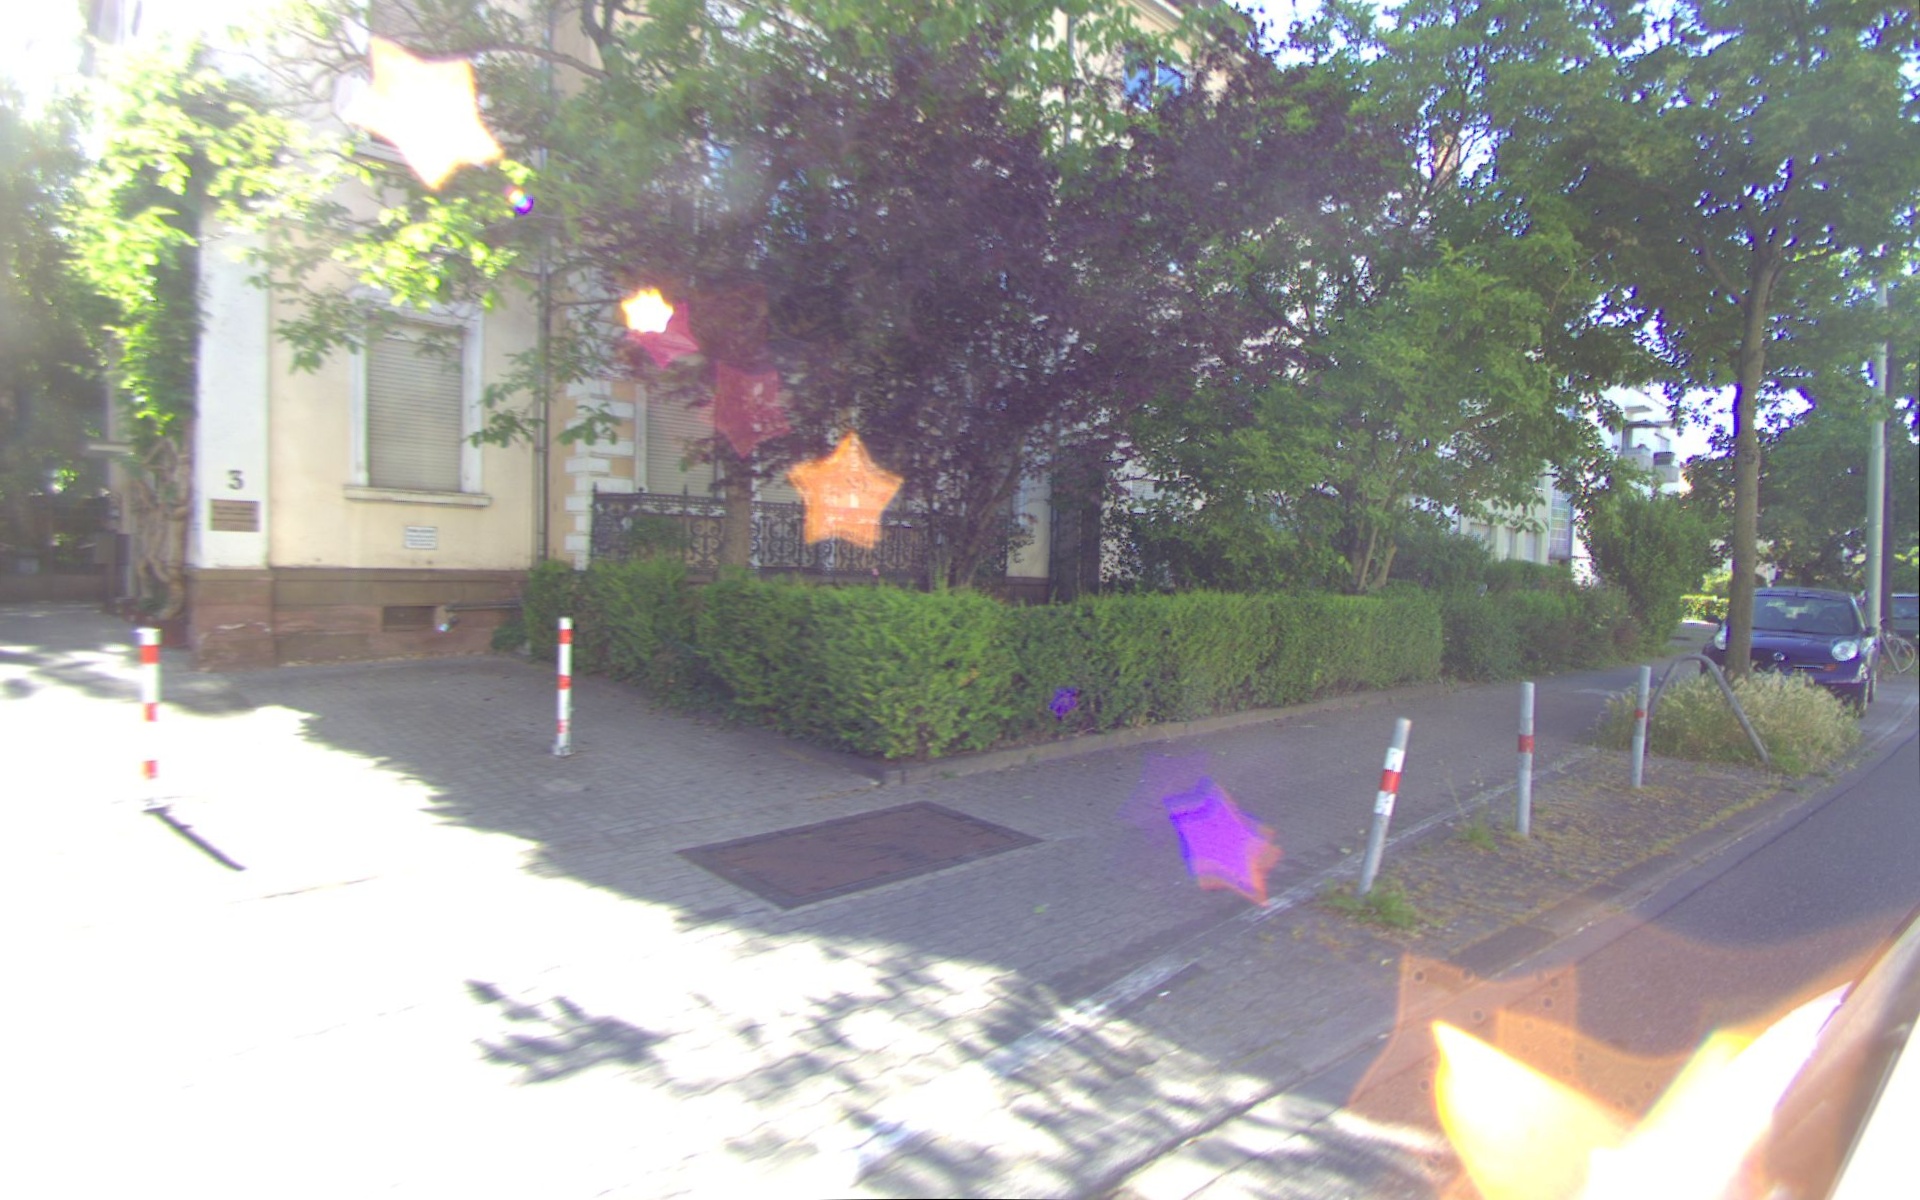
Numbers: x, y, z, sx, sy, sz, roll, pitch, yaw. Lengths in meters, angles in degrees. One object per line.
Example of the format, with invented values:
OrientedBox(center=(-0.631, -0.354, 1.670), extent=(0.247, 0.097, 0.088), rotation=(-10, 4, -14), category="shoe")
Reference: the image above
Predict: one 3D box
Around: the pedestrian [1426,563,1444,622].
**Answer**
OrientedBox(center=(14.259, -0.221, 30.393), extent=(0.364, 1.759, 0.361), rotation=(-2, -1, 41), category="pedestrian")

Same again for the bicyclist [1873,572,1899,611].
OrientedBox(center=(43.915, -0.417, 48.001), extent=(0.999, 1.815, 0.725), rotation=(0, 3, -44), category="bicyclist")

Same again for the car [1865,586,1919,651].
OrientedBox(center=(22.703, 0.417, 23.884), extent=(3.909, 1.400, 1.614), rotation=(0, 3, -43), category="car")

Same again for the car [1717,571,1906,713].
OrientedBox(center=(11.375, 0.451, 13.445), extent=(1.561, 1.533, 3.596), rotation=(6, 5, 44), category="car")

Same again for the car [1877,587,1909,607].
OrientedBox(center=(71.509, -0.229, 77.546), extent=(3.656, 1.372, 1.534), rotation=(0, 5, -44), category="car")

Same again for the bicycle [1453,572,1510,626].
OrientedBox(center=(13.291, -0.031, 25.762), extent=(1.811, 1.302, 0.624), rotation=(0, 5, -43), category="bicycle")

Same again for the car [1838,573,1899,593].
OrientedBox(center=(84.147, -1.551, 93.737), extent=(1.800, 1.458, 3.995), rotation=(0, 6, -43), category="car")

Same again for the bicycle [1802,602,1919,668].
OrientedBox(center=(17.155, 0.634, 19.150), extent=(0.514, 1.033, 1.746), rotation=(-2, 6, -35), category="bicycle")

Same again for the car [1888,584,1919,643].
OrientedBox(center=(26.895, 0.364, 27.908), extent=(1.715, 1.507, 4.166), rotation=(4, 3, 45), category="car")

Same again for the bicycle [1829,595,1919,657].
OrientedBox(center=(19.809, 0.552, 21.771), extent=(1.640, 1.252, 0.470), rotation=(2, 1, 9), category="bicycle")

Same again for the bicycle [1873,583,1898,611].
OrientedBox(center=(43.894, -0.152, 47.995), extent=(1.791, 1.262, 0.699), rotation=(0, 4, -44), category="bicycle")

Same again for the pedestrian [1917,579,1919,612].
OrientedBox(center=(49.230, -0.221, 51.514), extent=(0.763, 1.703, 0.670), rotation=(0, 3, -43), category="pedestrian")
